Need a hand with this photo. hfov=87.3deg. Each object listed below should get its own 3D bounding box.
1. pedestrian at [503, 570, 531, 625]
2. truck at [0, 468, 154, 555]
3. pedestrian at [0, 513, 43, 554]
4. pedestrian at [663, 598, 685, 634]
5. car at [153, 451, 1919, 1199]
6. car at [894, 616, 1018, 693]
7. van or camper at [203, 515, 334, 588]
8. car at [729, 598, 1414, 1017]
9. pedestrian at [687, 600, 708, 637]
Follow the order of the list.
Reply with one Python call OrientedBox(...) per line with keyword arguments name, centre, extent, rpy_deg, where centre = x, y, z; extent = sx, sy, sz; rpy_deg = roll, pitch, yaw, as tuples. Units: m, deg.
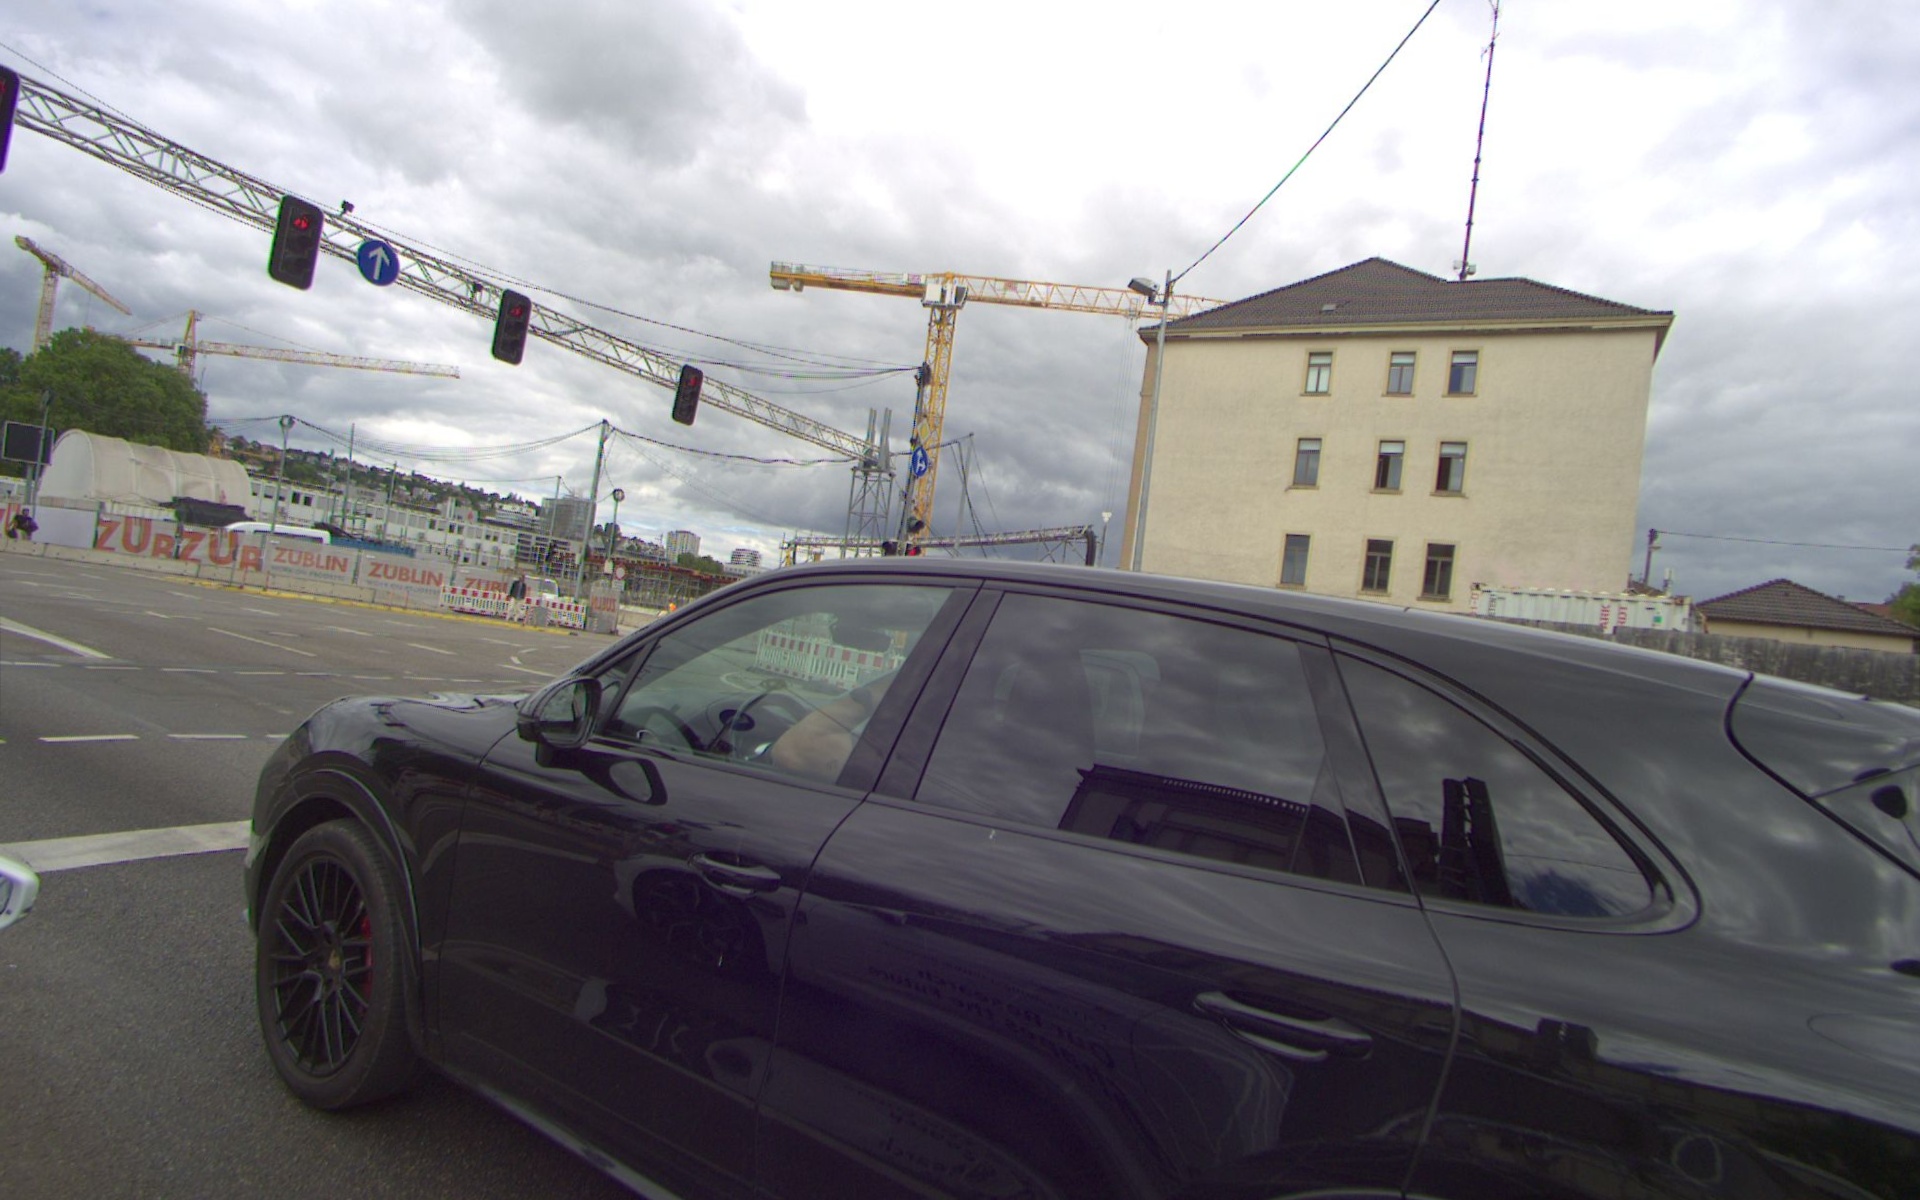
OrientedBox(name="pedestrian", centre=(-17.205, -0.102, 39.072), extent=(0.647, 2.037, 0.513), rpy_deg=(8, -1, -33))
OrientedBox(name="truck", centre=(-57.896, -5.796, 61.927), extent=(3.875, 4.086, 13.089), rpy_deg=(8, -2, 12))
OrientedBox(name="pedestrian", centre=(-36.301, -2.570, 38.852), extent=(0.887, 1.393, 0.800), rpy_deg=(8, -1, 14))
OrientedBox(name="pedestrian", centre=(-15.131, 0.860, 53.170), extent=(0.607, 1.816, 0.654), rpy_deg=(7, -1, 23))
OrientedBox(name="car", centre=(0.041, 0.720, 2.696), extent=(4.559, 1.705, 1.959), rpy_deg=(7, -2, 33))
OrientedBox(name="car", centre=(-0.059, 2.360, 42.199), extent=(2.030, 2.623, 6.007), rpy_deg=(7, -3, 32))
OrientedBox(name="van or camper", centre=(-29.807, -2.071, 43.410), extent=(4.204, 2.384, 1.976), rpy_deg=(10, -3, -44))
OrientedBox(name="car", centre=(0.597, 1.048, 6.372), extent=(3.818, 1.561, 1.667), rpy_deg=(7, -2, 33))
OrientedBox(name="pedestrian", centre=(-13.296, 0.944, 50.962), extent=(0.508, 1.737, 0.654), rpy_deg=(7, -1, 21))
